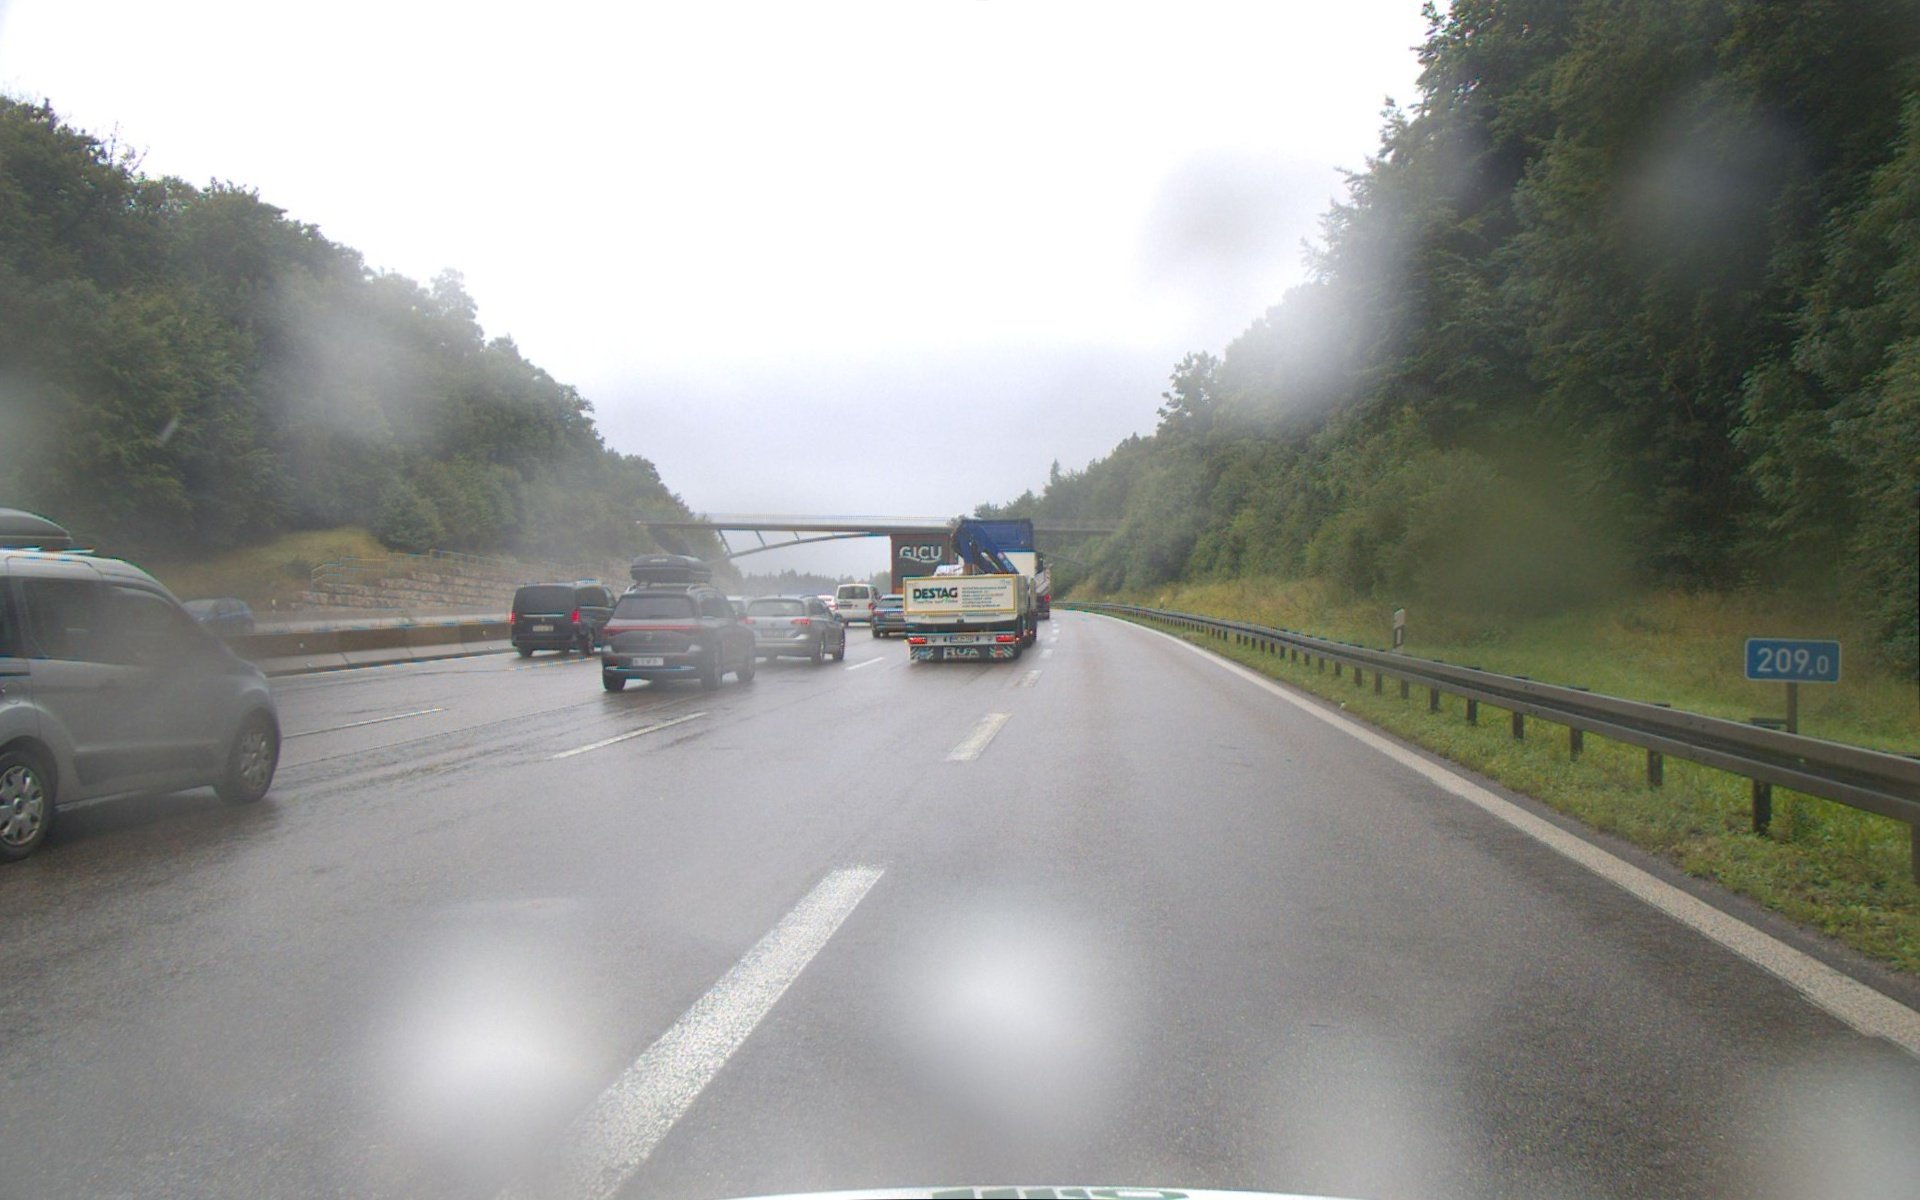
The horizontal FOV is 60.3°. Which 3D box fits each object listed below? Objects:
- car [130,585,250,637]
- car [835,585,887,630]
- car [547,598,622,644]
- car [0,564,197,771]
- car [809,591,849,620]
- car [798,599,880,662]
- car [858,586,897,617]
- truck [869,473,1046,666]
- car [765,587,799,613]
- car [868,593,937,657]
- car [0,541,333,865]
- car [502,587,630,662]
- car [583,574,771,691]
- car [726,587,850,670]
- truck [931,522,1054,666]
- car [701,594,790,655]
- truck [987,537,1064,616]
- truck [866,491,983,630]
[{"bbox_3d":[-26.448,0.339,56.951,1.770,1.713,4.376,0,0,5],"label":"car"},{"bbox_3d":[-4.579,0.374,76.781,1.805,1.892,4.001,3,-1,4],"label":"car"},{"bbox_3d":[-15.489,0.841,68.413,1.952,1.800,4.002,0,0,3],"label":"car"},{"bbox_3d":[-9.353,0.595,15.722,1.951,1.830,4.157,0,0,6],"label":"car"},{"bbox_3d":[-7.531,0.340,95.335,1.588,1.473,3.762,3,-1,5],"label":"car"},{"bbox_3d":[-3.391,0.828,46.988,1.718,1.676,4.002,0,0,4],"label":"car"},{"bbox_3d":[-5.006,0.132,100.719,1.813,1.691,4.001,3,-1,3],"label":"car"},{"bbox_3d":[0.232,-0.699,41.777,3.524,4.177,11.566,0,0,5],"label":"truck"},{"bbox_3d":[-13.195,0.033,122.795,1.953,1.707,4.000,3,-1,1],"label":"car"},{"bbox_3d":[-1.972,0.897,58.074,1.755,2.049,4.002,3,-1,6],"label":"car"},{"bbox_3d":[-6.029,0.575,10.594,1.806,1.781,4.570,-1,0,7],"label":"car"},{"bbox_3d":[-10.259,0.602,43.457,1.887,1.864,4.589,0,0,5],"label":"car"},{"bbox_3d":[-4.541,0.535,27.154,1.952,1.664,4.002,3,-1,6],"label":"car"},{"bbox_3d":[-3.695,0.580,36.170,1.897,1.691,4.003,0,0,6],"label":"car"},{"bbox_3d":[1.332,-0.086,57.514,3.434,4.342,10.607,3,-1,4],"label":"truck"},{"bbox_3d":[-6.072,0.660,47.275,1.718,1.676,4.002,0,0,4],"label":"car"},{"bbox_3d":[4.027,-1.258,98.166,3.676,4.039,11.065,3,-1,6],"label":"truck"},{"bbox_3d":[-1.425,-1.585,74.655,3.675,5.595,10.178,3,-1,6],"label":"truck"}]
